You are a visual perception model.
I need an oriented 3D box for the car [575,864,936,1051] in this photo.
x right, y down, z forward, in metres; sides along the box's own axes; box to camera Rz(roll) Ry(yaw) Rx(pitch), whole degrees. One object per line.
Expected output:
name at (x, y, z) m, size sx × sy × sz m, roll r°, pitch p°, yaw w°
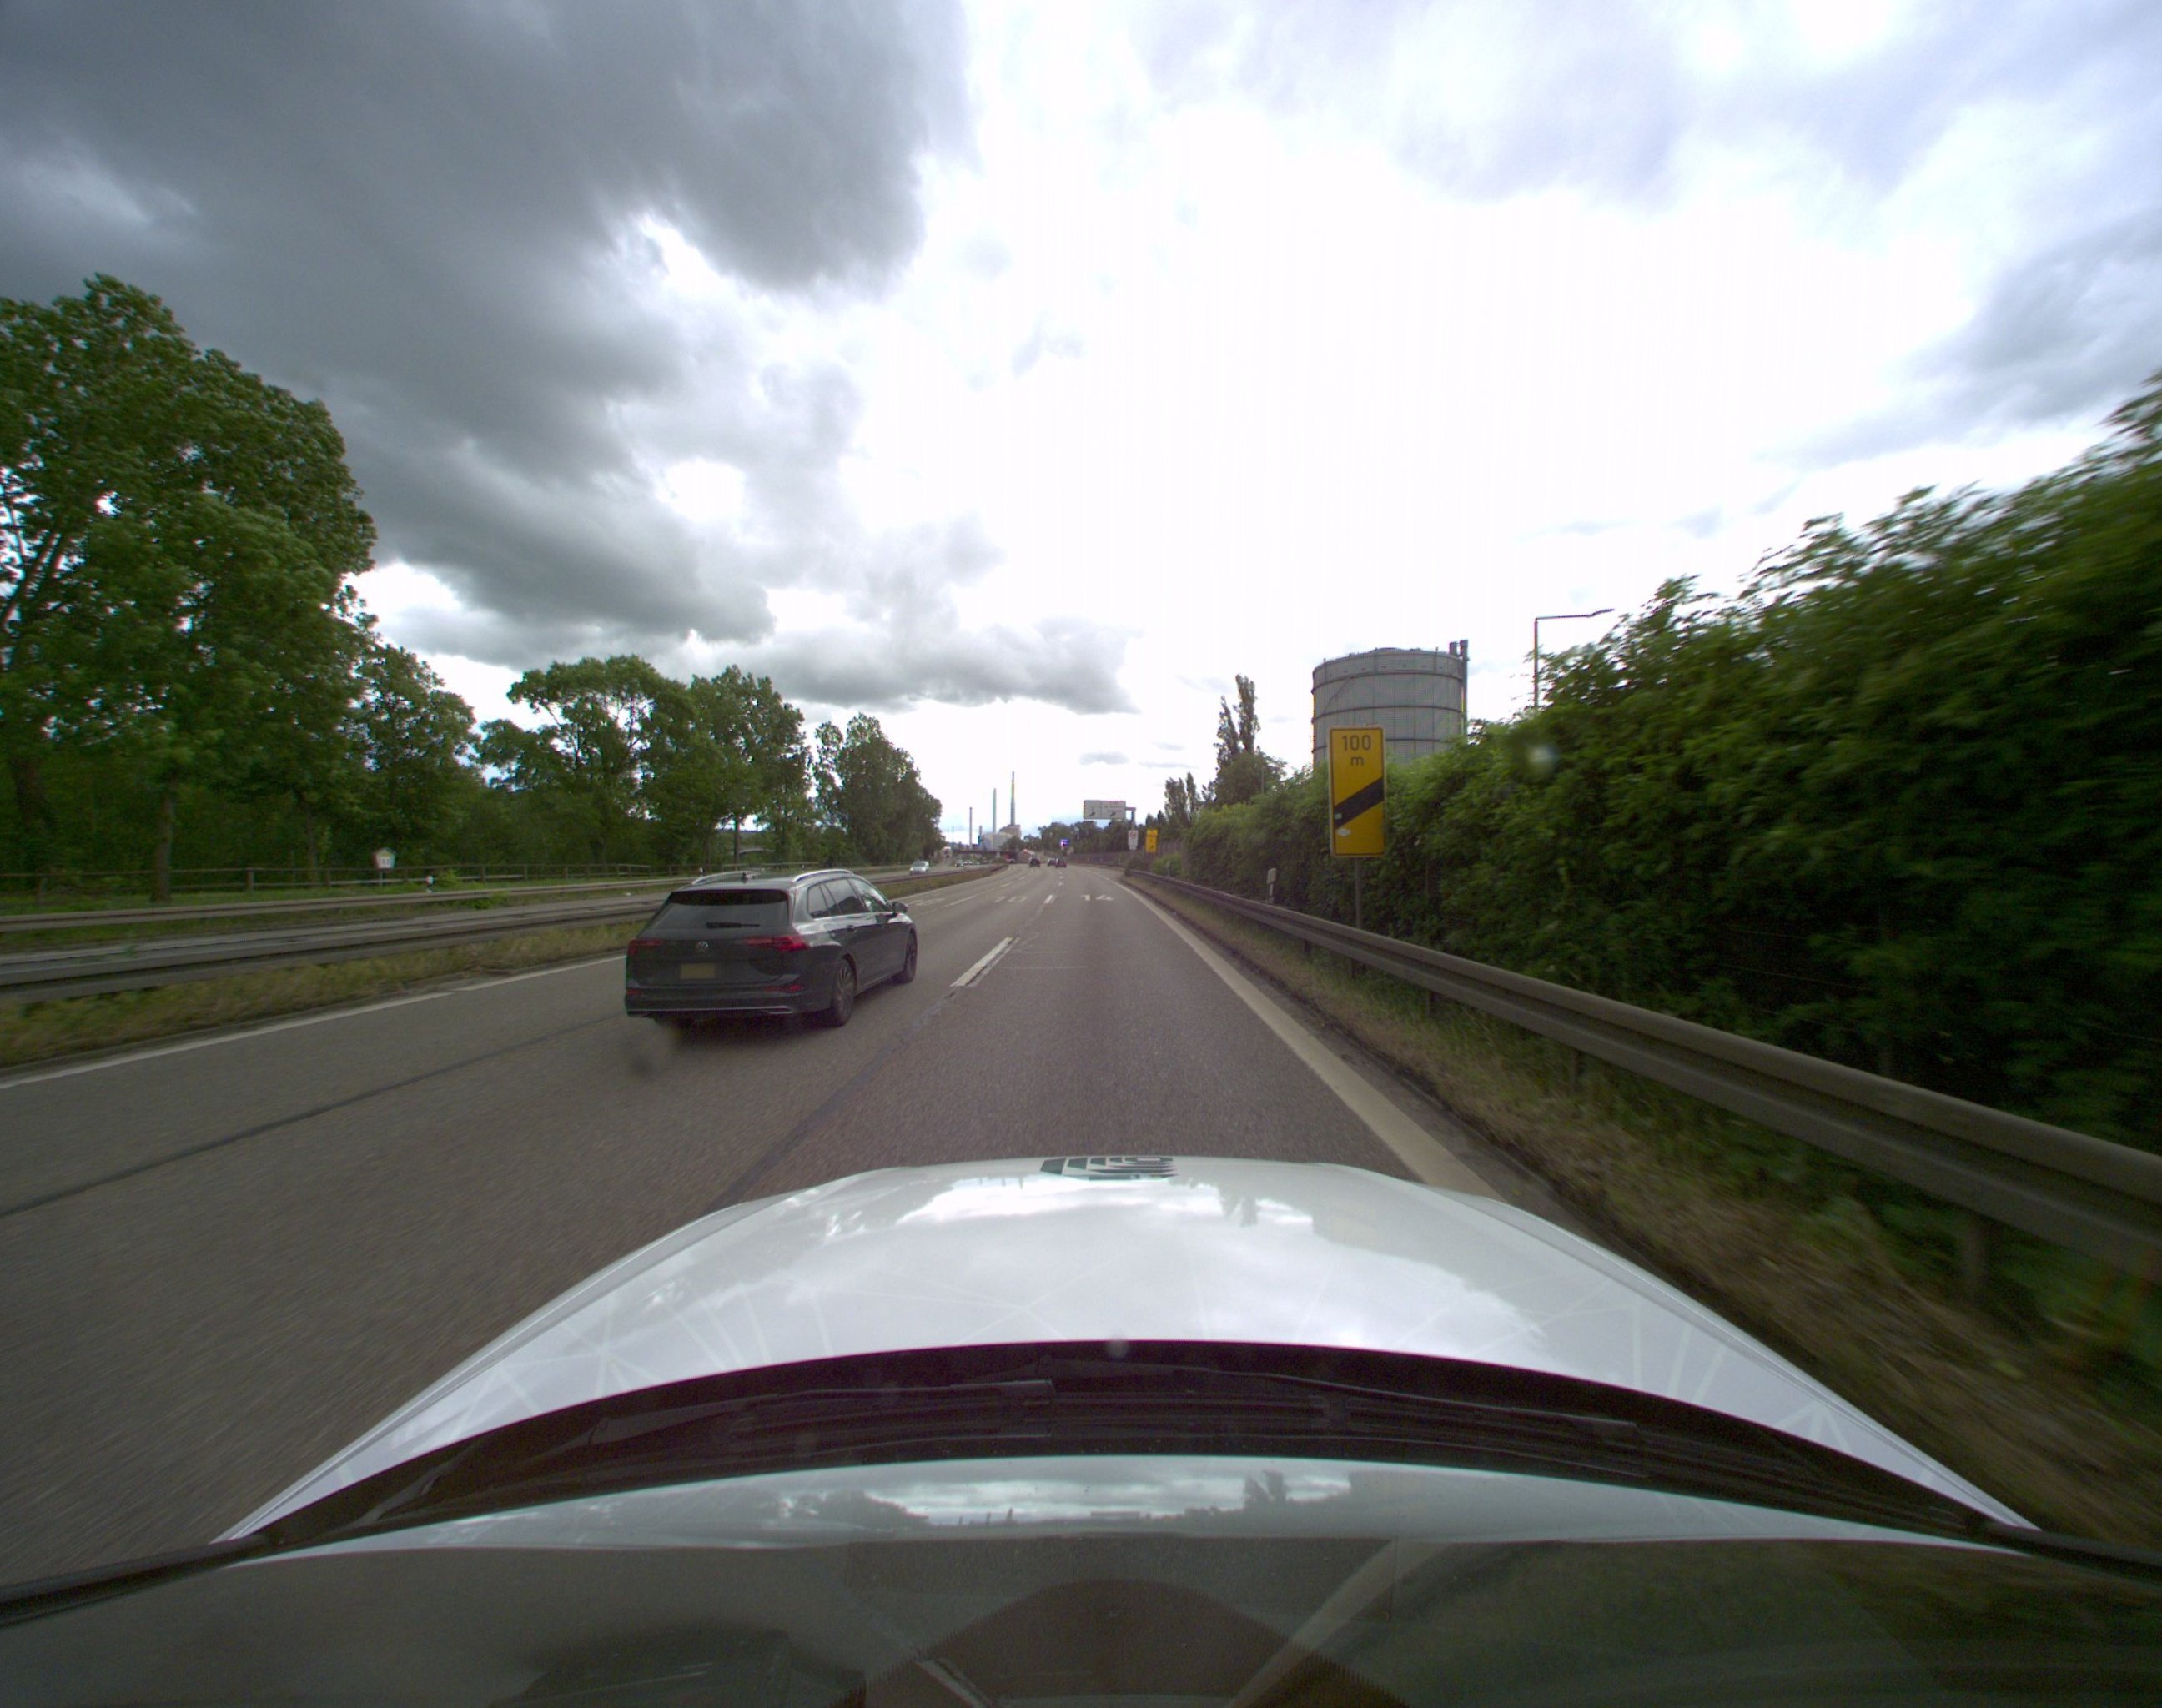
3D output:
car at (-3.053, 0.861, 8.982) m, size 1.838 × 1.423 × 4.903 m, roll 0°, pitch 0°, yaw 2°

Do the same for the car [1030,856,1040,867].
car at (-8.053, 1.303, 143.194) m, size 1.695 × 1.742 × 3.993 m, roll -1°, pitch 0°, yaw -5°

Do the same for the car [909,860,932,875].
car at (-16.097, 1.350, 81.620) m, size 1.610 × 1.386 × 3.730 m, roll 0°, pitch 0°, yaw -1°

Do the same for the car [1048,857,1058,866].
car at (-5.620, 1.512, 162.099) m, size 1.696 × 1.742 × 4.382 m, roll -1°, pitch 0°, yaw -7°

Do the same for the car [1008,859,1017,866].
car at (-19.363, 2.357, 229.896) m, size 1.700 × 1.742 × 4.373 m, roll -1°, pitch 0°, yaw -13°

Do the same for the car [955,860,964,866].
car at (-26.583, 1.964, 177.869) m, size 1.696 × 1.413 × 4.626 m, roll -1°, pitch 0°, yaw -7°

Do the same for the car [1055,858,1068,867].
car at (-3.225, 1.399, 133.664) m, size 1.971 × 1.423 × 4.892 m, roll -1°, pitch 0°, yaw -5°

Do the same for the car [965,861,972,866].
car at (-34.633, 2.922, 250.968) m, size 1.695 × 1.413 × 4.628 m, roll -1°, pitch 0°, yaw -6°

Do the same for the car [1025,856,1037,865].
car at (-11.600, 1.558, 187.802) m, size 2.015 × 1.934 × 4.881 m, roll -1°, pitch 0°, yaw -12°
